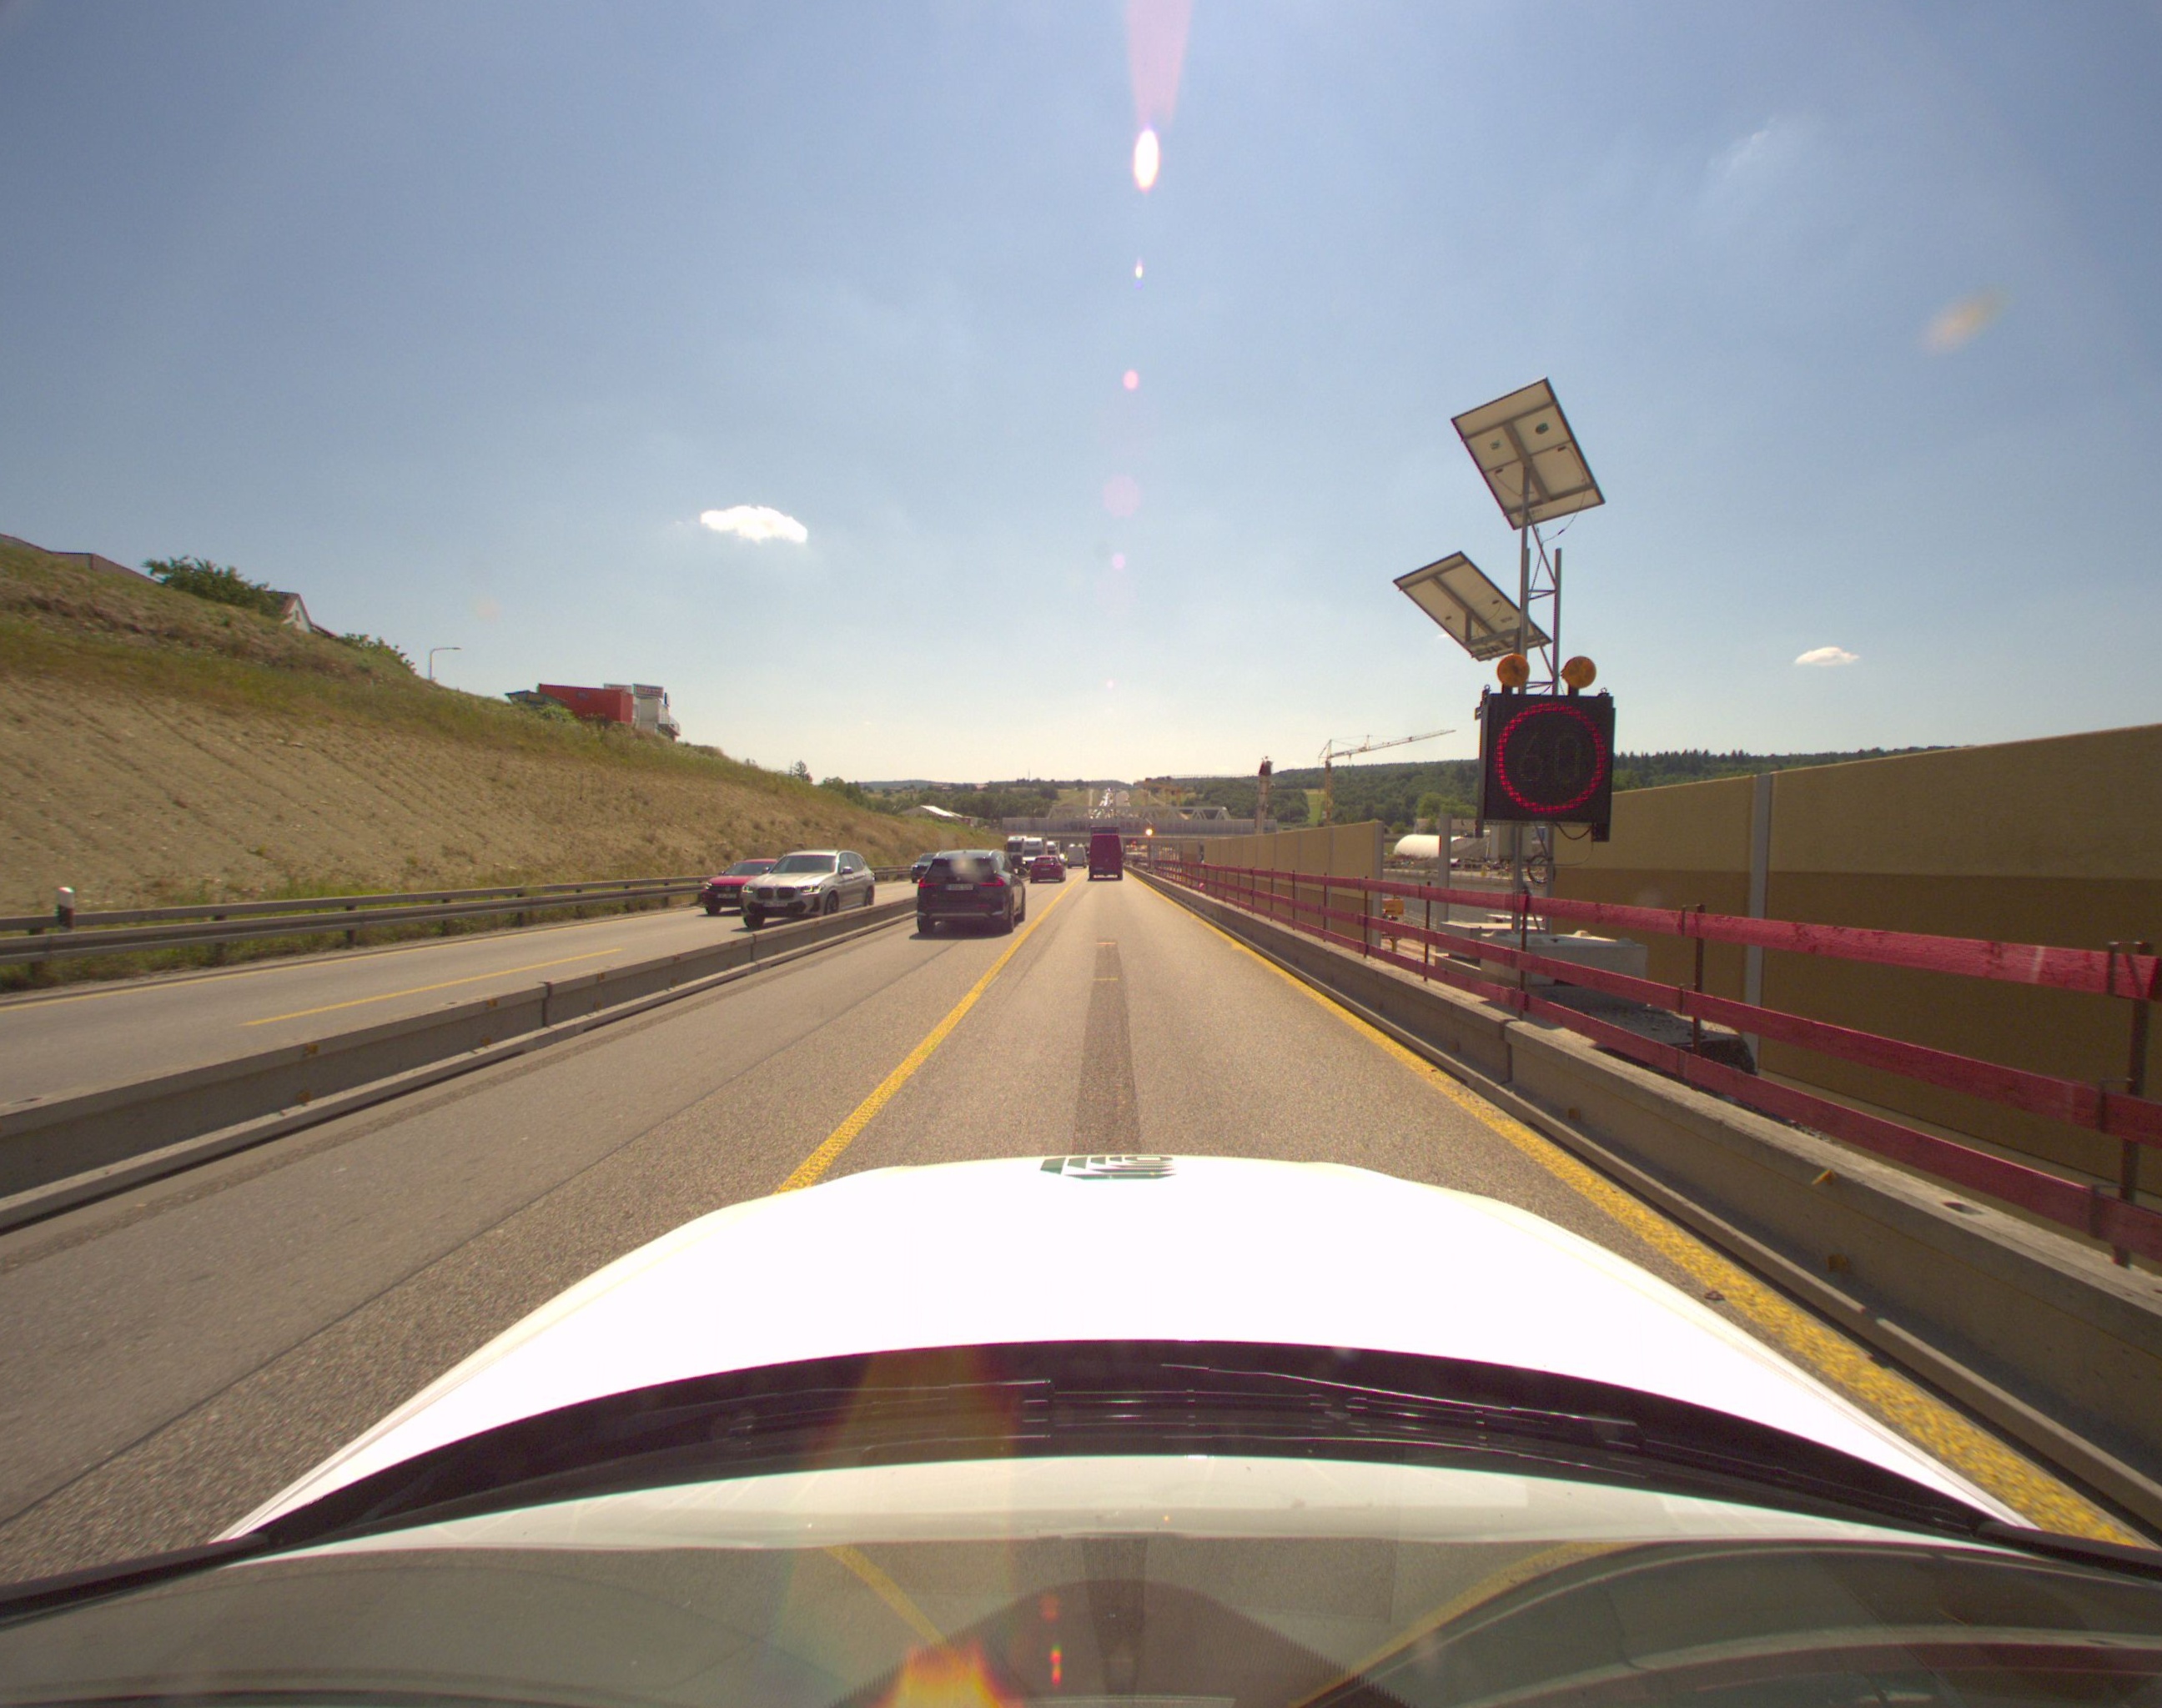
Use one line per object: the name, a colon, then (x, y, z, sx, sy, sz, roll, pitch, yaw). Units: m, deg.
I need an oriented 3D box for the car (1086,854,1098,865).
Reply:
car: (1.709, 0.902, 126.651, 1.769, 1.670, 4.030, -1, 0, 1)

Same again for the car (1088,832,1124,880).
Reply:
car: (1.454, 0.118, 48.287, 1.981, 2.690, 4.625, -1, 0, 1)

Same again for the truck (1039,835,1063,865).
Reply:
truck: (-3.886, -0.525, 106.772, 2.580, 3.758, 7.360, 0, 0, 1)

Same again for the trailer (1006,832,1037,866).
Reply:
trailer: (-7.539, -0.597, 105.376, 2.688, 4.024, 13.705, 0, 0, 1)

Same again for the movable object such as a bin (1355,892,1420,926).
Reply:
movable object such as a bin: (27.591, 4.890, 73.769, 3.151, 2.446, 7.899, 2, 0, 2)

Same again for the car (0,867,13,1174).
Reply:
car: (-6.311, 0.817, 1.478, 1.948, 1.499, 5.091, 0, 0, 1)

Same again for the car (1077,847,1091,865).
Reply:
car: (0.459, 0.274, 111.711, 1.769, 2.330, 4.207, -1, 0, 1)

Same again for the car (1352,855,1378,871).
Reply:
car: (38.564, 1.215, 110.580, 1.800, 2.013, 4.823, 0, 0, -1)

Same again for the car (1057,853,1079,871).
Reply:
car: (-1.197, 0.730, 77.039, 1.833, 1.654, 4.165, -1, 0, 1)

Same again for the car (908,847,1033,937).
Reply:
car: (-2.163, 0.698, 17.196, 1.873, 1.618, 4.500, -1, 0, 1)

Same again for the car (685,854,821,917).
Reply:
car: (-9.177, 0.797, 23.306, 1.678, 1.585, 5.128, 0, 0, 1)

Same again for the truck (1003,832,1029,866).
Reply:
truck: (-7.694, -0.584, 97.327, 2.688, 4.050, 3.956, 0, 0, 1)

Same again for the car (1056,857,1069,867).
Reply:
car: (-2.717, 1.148, 122.456, 1.773, 1.458, 4.721, 0, 0, 1)

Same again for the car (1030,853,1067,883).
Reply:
car: (-1.743, 0.739, 44.648, 1.770, 1.517, 4.206, -1, 0, 1)

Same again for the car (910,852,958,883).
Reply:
car: (-8.554, 0.758, 47.654, 1.847, 1.672, 4.669, -1, 0, 1)

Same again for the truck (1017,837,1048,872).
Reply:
truck: (-4.745, 0.058, 81.370, 2.529, 3.374, 7.039, 0, 0, 1)

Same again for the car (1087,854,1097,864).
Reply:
car: (1.948, 0.889, 144.569, 1.769, 1.670, 4.030, -1, 0, 1)

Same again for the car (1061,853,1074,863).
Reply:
car: (-2.371, 0.740, 145.325, 2.028, 1.823, 4.961, 0, 0, 1)

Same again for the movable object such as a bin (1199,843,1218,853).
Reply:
movable object such as a bin: (35.755, -1.635, 228.172, 5.119, 2.807, 2.147, 0, 0, 7)

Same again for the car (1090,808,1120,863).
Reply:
car: (2.324, -1.734, 79.960, 2.611, 5.032, 10.400, -1, 0, 1)

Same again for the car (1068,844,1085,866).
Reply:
car: (-0.523, 0.088, 92.361, 1.769, 2.441, 4.207, -1, 0, 1)

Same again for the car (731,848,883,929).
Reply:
car: (-6.193, 0.706, 19.042, 1.838, 1.665, 4.690, 0, 0, 1)
